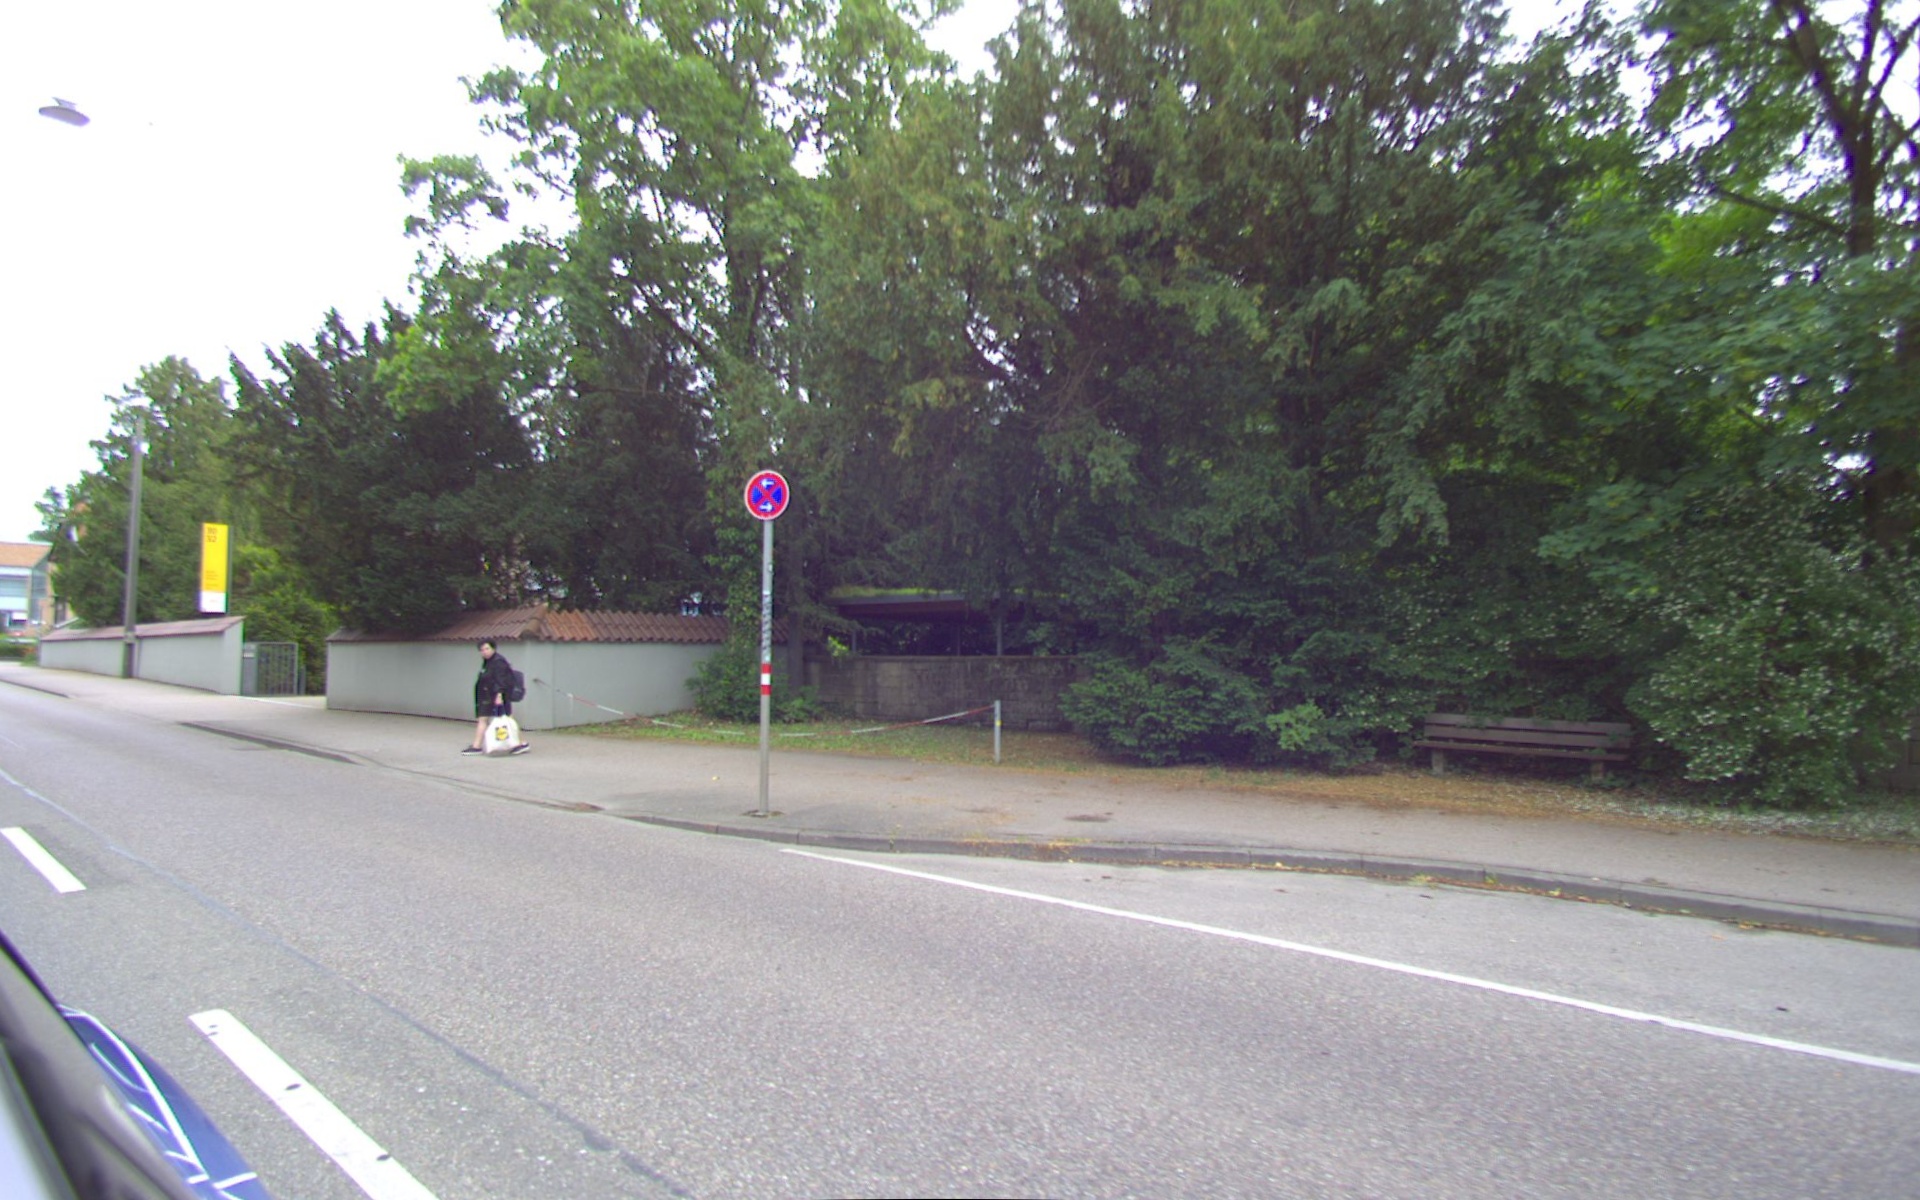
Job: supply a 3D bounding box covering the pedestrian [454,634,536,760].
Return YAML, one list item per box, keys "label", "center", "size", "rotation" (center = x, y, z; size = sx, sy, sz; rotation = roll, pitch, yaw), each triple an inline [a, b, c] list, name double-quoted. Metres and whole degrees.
- label: "pedestrian"
  center: [-6.186, 1.255, 13.451]
  size: [0.887, 1.572, 0.931]
  rotation: [0, -2, -32]
